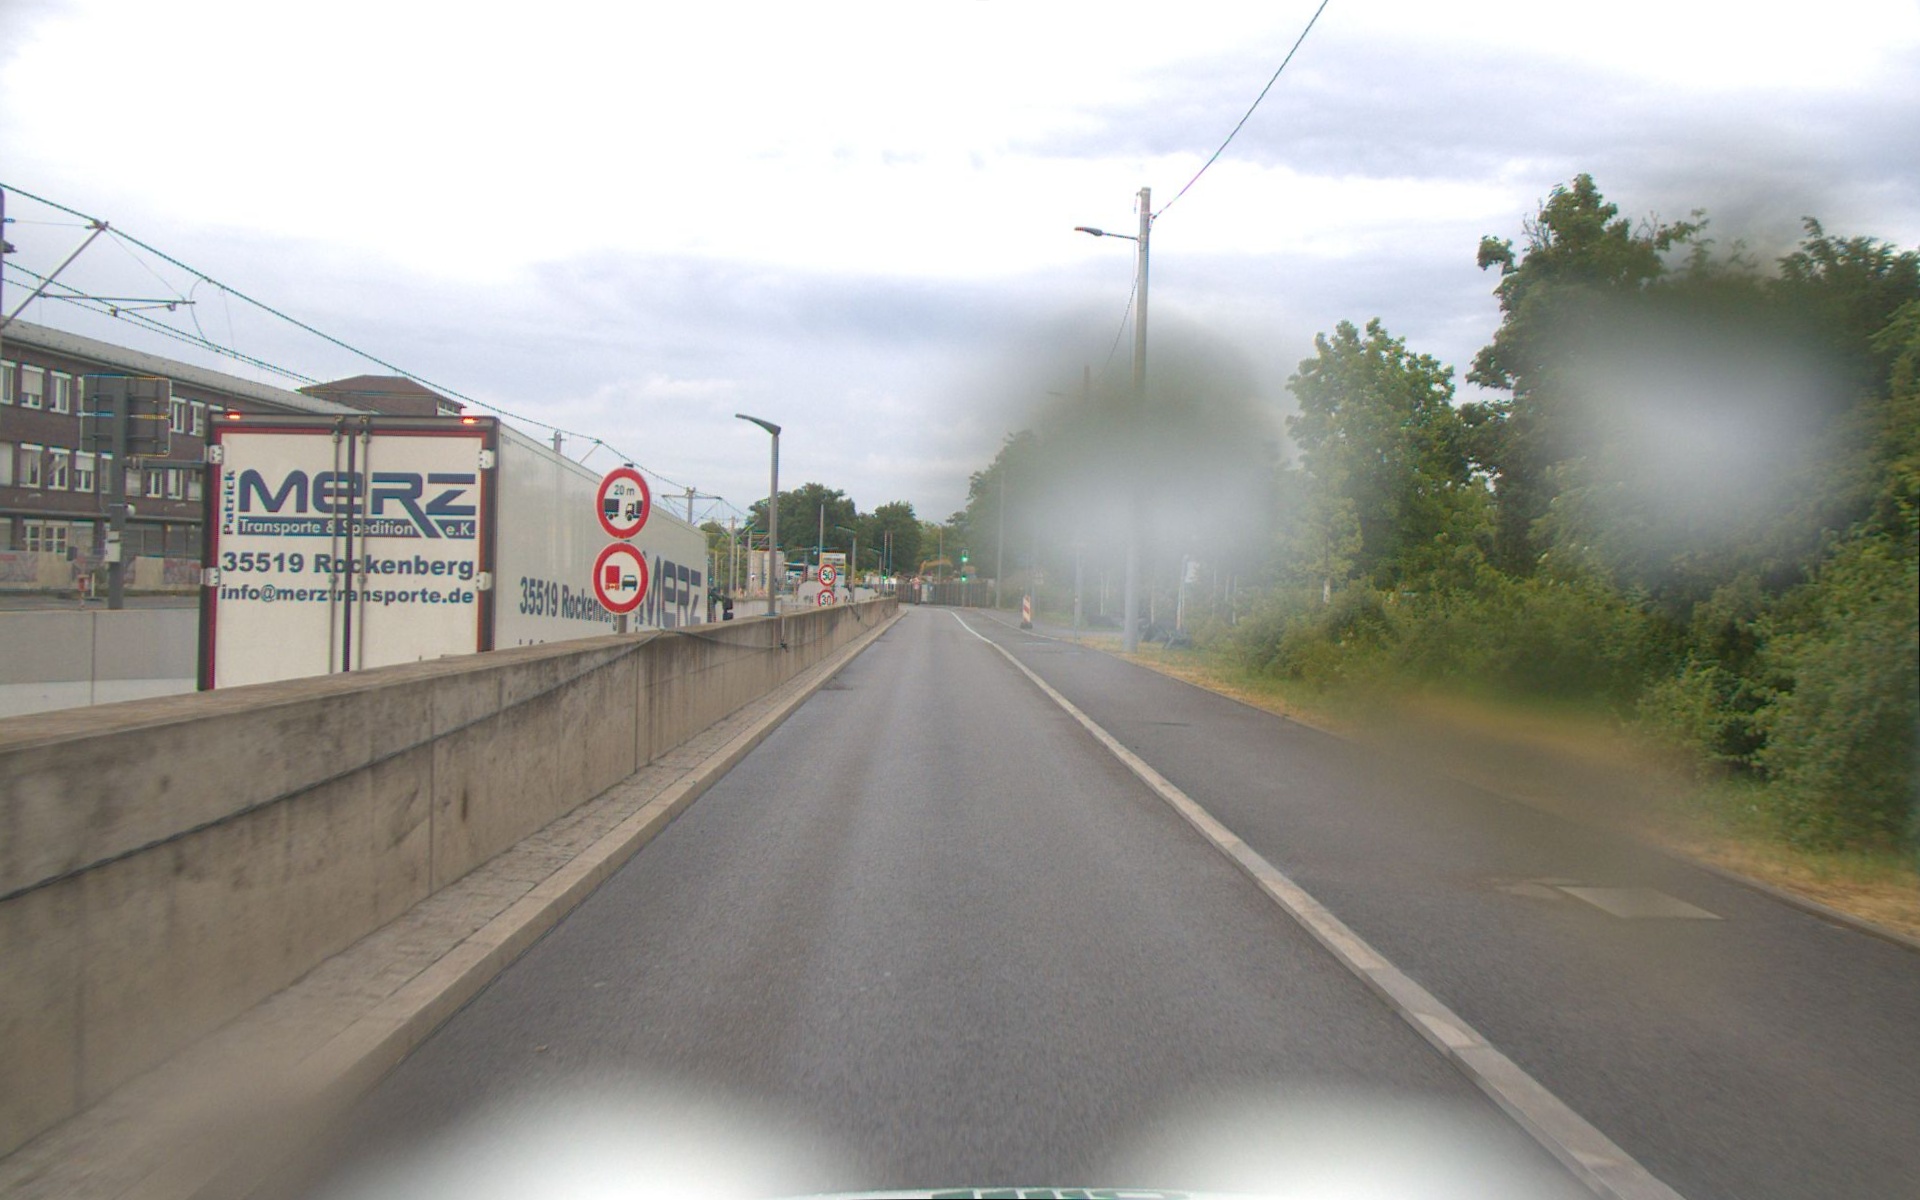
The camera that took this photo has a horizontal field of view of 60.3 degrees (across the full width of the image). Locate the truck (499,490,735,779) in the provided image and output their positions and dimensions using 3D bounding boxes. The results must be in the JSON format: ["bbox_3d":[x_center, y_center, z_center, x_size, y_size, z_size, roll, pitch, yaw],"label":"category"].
[{"bbox_3d":[-5.513,0.502,27.702,2.700,4.278,6.305,0,0,-1],"label":"truck"}]

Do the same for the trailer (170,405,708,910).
[{"bbox_3d":[-5.477,0.476,20.802,2.706,4.327,13.181,0,0,-1],"label":"trailer"}]
